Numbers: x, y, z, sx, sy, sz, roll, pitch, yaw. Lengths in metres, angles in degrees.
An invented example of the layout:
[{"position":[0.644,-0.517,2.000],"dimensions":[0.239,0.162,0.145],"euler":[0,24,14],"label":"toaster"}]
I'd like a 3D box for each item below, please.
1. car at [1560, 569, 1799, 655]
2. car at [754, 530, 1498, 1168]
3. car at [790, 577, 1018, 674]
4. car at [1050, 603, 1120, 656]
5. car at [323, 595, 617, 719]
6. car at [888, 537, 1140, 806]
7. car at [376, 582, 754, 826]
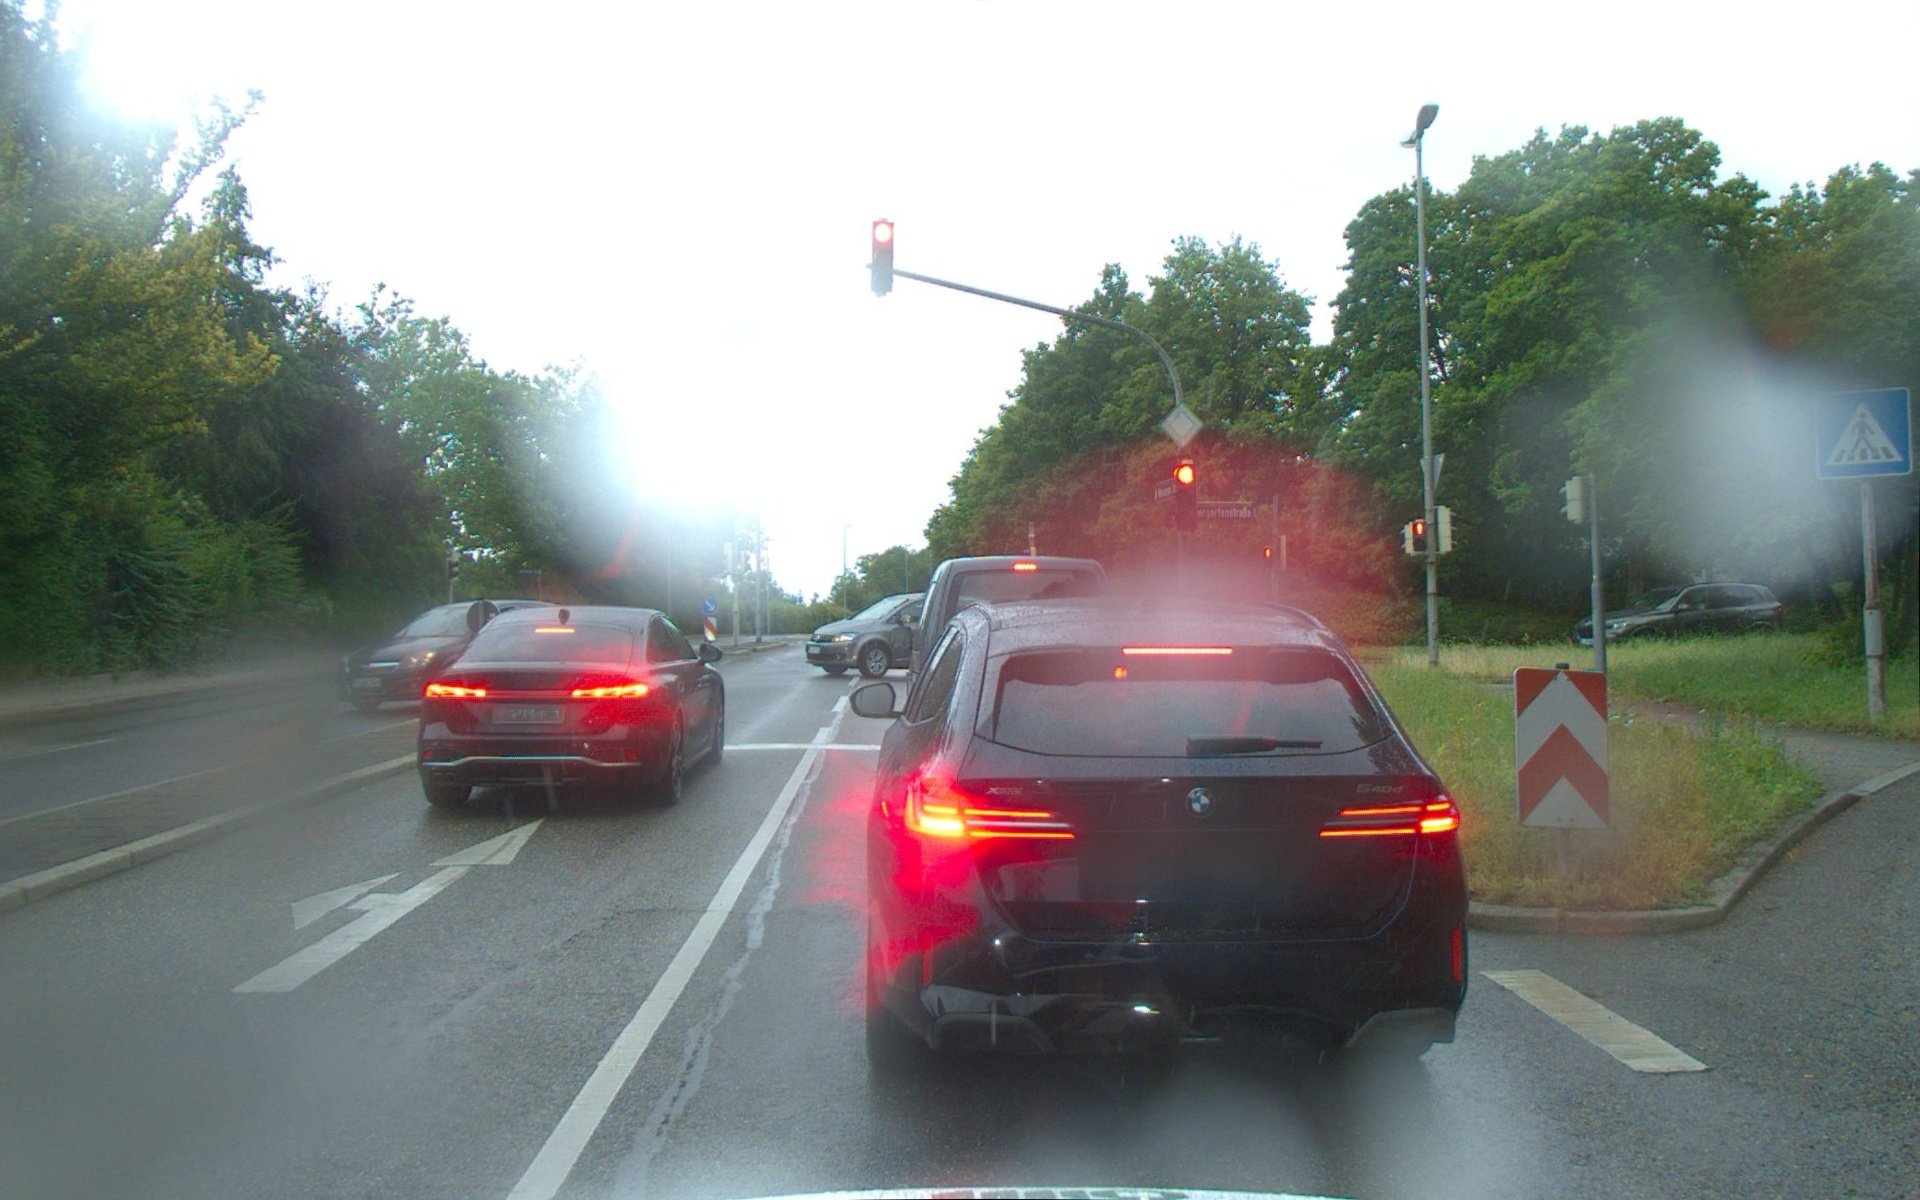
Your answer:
[{"position":[16.245,0.261,37.435],"dimensions":[4.617,1.747,1.995],"euler":[-2,0,-10],"label":"car"},{"position":[0.522,0.658,6.473],"dimensions":[1.858,1.578,4.616],"euler":[0,-1,3],"label":"car"},{"position":[-1.051,0.466,31.452],"dimensions":[3.977,1.630,1.730],"euler":[-2,0,-31],"label":"car"},{"position":[3.949,0.922,52.822],"dimensions":[1.835,1.569,3.952],"euler":[-2,0,0],"label":"car"},{"position":[-6.792,0.751,23.373],"dimensions":[1.857,1.535,3.999],"euler":[-2,0,22],"label":"car"},{"position":[0.376,0.524,13.704],"dimensions":[1.781,1.901,3.952],"euler":[0,0,0],"label":"car"},{"position":[-2.921,0.713,13.264],"dimensions":[1.953,1.554,4.327],"euler":[-2,0,0],"label":"car"}]
